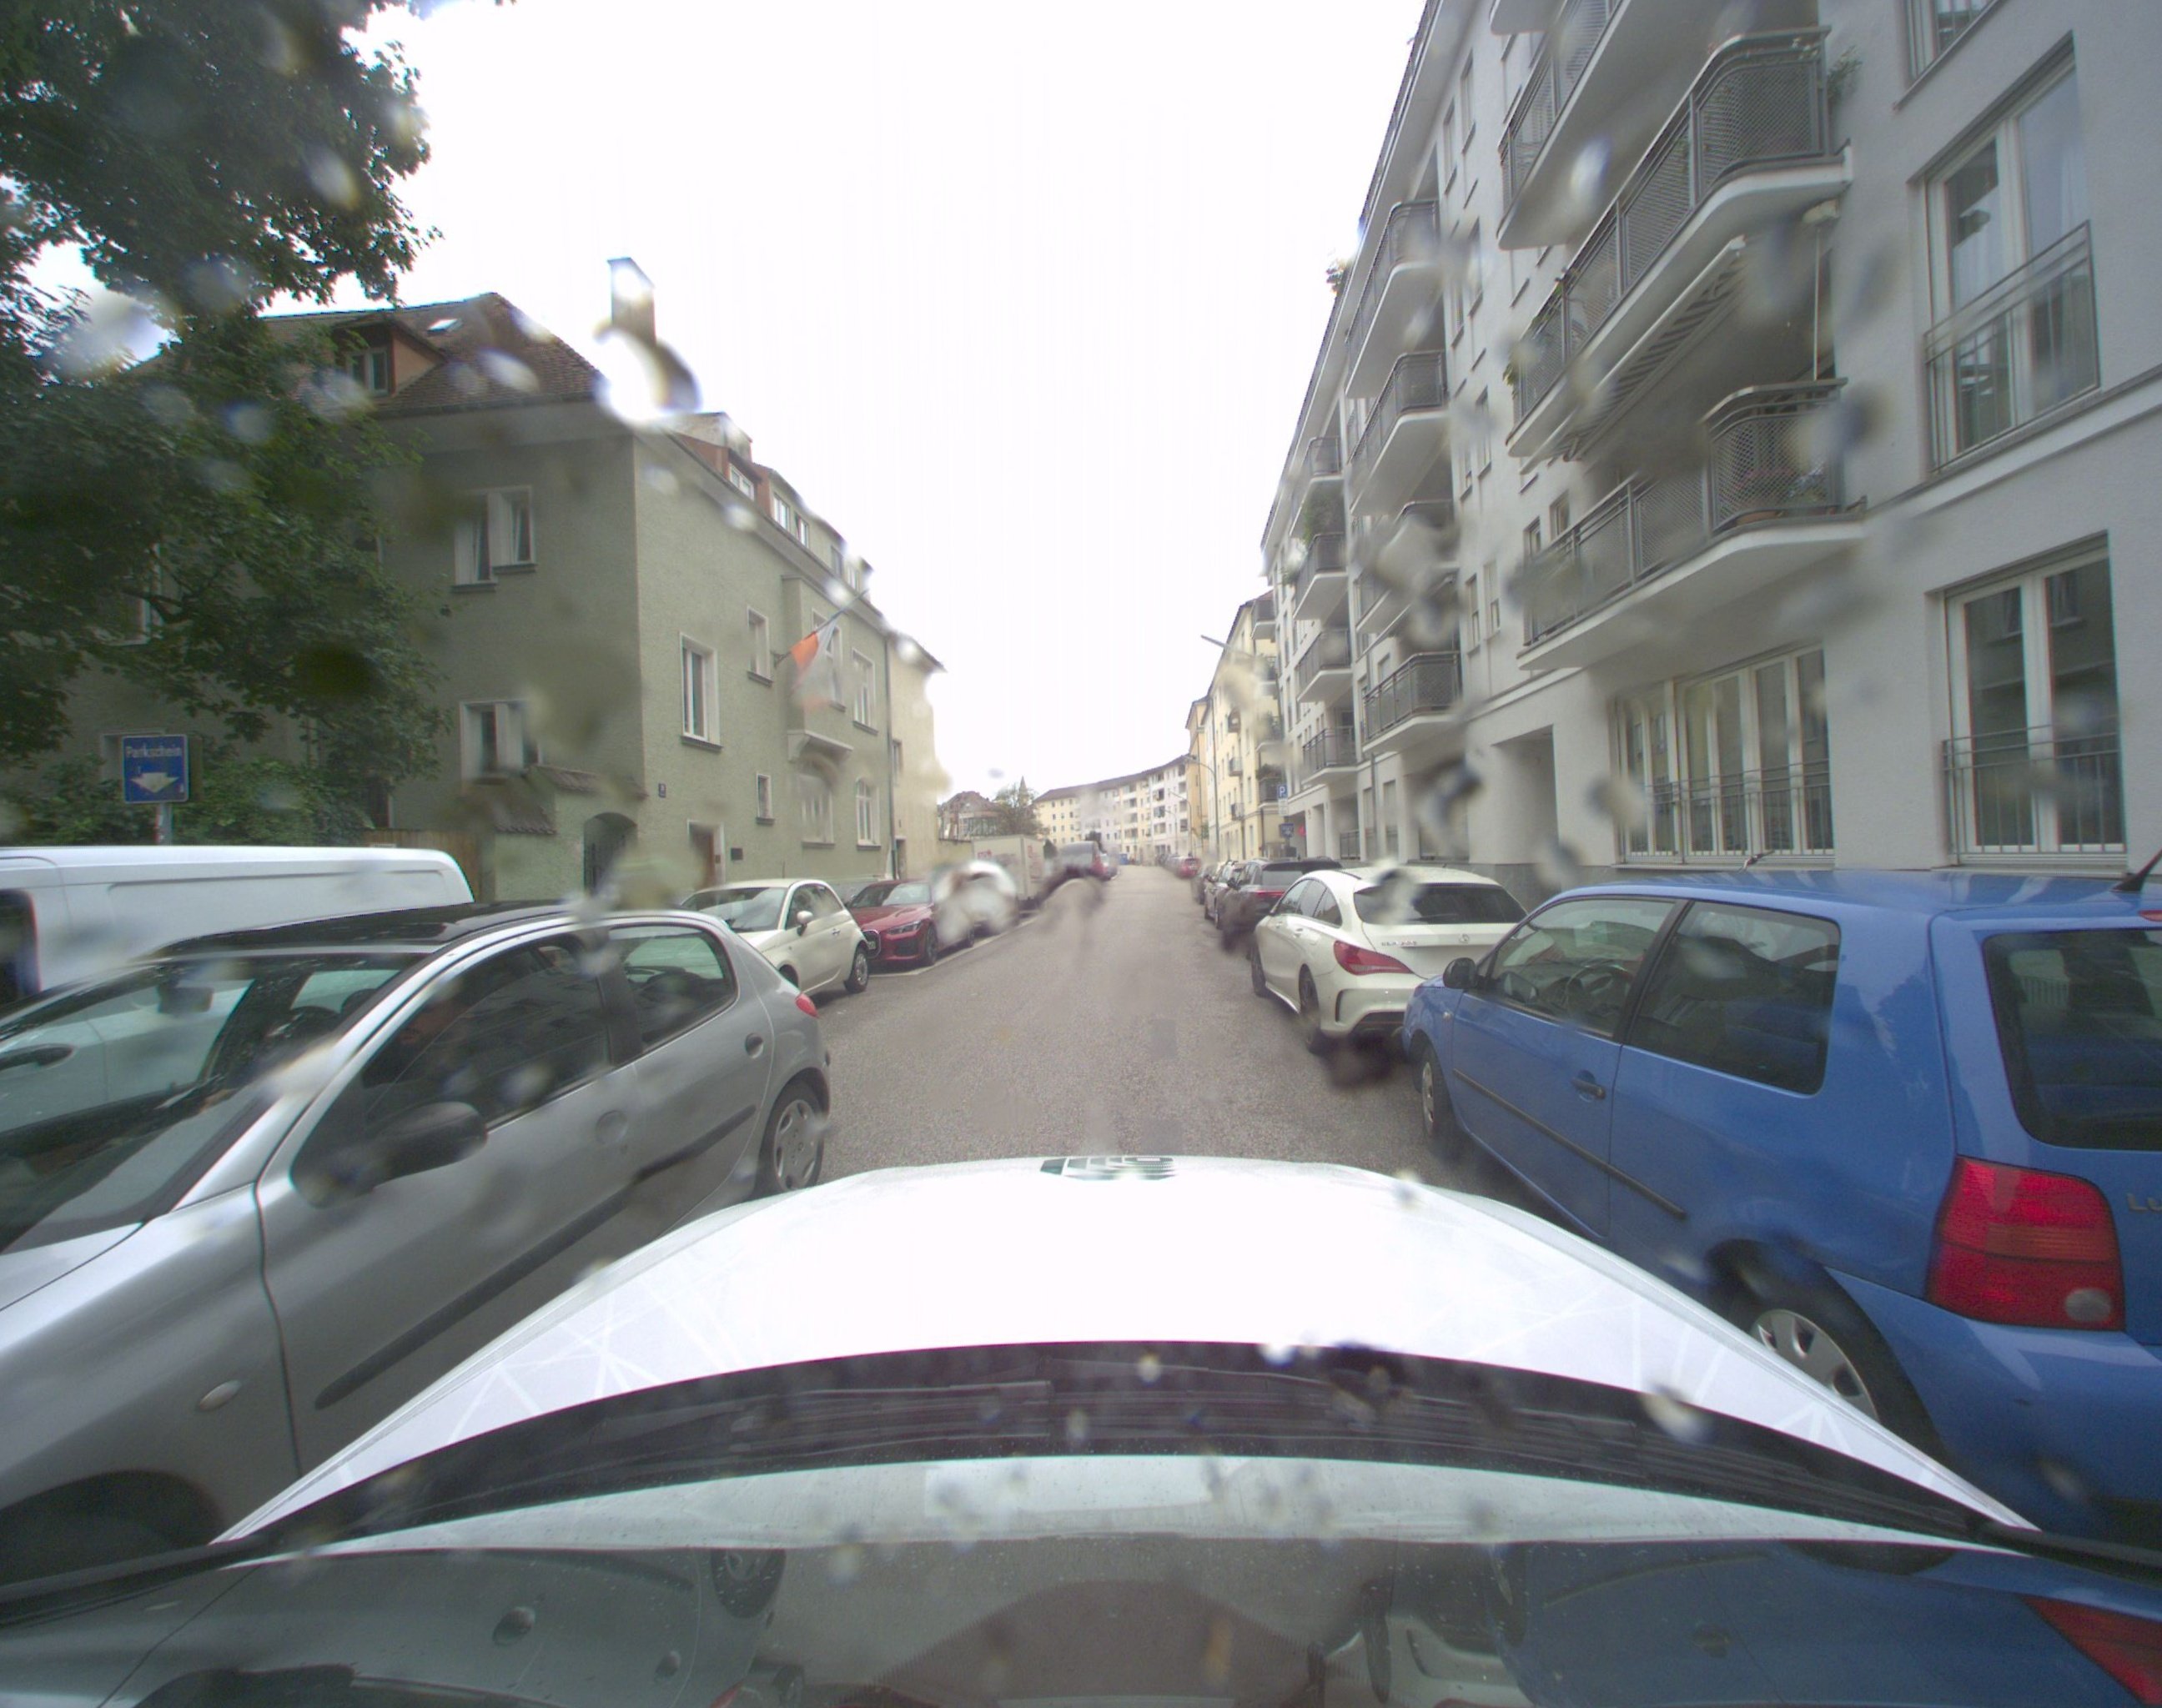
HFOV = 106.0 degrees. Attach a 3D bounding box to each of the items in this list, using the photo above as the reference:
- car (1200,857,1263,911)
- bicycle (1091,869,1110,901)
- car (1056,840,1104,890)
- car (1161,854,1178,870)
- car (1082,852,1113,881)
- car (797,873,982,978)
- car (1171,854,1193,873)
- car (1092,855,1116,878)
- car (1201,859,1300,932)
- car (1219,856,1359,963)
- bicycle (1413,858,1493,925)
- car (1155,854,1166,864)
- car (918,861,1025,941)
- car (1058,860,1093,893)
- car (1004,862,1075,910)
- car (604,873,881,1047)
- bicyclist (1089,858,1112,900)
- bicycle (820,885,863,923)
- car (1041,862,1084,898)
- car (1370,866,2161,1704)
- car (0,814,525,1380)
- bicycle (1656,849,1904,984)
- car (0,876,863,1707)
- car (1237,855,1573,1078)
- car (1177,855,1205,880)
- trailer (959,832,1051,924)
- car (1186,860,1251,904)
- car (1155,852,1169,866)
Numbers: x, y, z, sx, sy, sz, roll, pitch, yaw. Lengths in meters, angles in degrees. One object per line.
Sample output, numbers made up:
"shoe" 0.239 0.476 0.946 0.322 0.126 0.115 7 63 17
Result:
"car" 4.561 0.873 25.064 1.512 1.530 3.531 -1 0 4
"bicycle" 0.771 1.193 31.692 0.501 1.128 1.777 -4 0 8
"car" 0.026 0.576 47.444 2.077 2.636 5.387 -2 0 7
"car" 9.603 0.837 88.544 1.583 1.582 4.303 -1 0 4
"car" 1.232 0.885 60.101 1.874 1.931 4.606 -4 0 4
"car" -3.122 1.117 14.285 1.852 1.412 4.338 -4 -1 4
"car" 8.510 0.786 68.828 1.592 1.491 3.802 -2 0 3
"car" 1.909 1.002 66.805 1.694 1.691 4.032 -4 0 4
"car" 3.925 0.895 19.554 1.726 1.530 4.626 0 0 4
"car" 3.316 0.805 13.677 1.596 1.530 3.988 0 0 4
"bicycle" 7.077 0.679 15.620 0.624 1.160 2.129 -3 0 3
"car" 10.715 0.734 109.987 1.266 1.299 2.800 -2 0 4
"car" -2.541 1.049 19.787 1.679 1.603 3.926 -4 0 4
"car" -0.267 1.130 42.108 1.579 1.538 3.545 -3 0 2
"car" -1.494 1.151 31.017 1.757 1.538 4.550 -4 -1 8
"car" -3.543 1.020 9.178 1.467 1.466 3.317 -4 -1 4
"bicyclist" 0.766 0.965 31.708 0.690 1.561 0.969 -4 -1 8
"bicycle" -6.435 1.324 21.956 0.520 0.906 1.930 1 0 2
"car" -0.795 1.167 37.363 1.694 1.446 3.828 -2 0 3
"car" 2.464 0.759 3.150 1.612 1.412 3.556 0 -1 3
"car" -4.318 0.829 2.766 1.682 1.803 4.150 -4 0 4
"bicycle" 6.094 0.520 7.269 0.674 1.028 1.836 -2 -2 4
"car" -2.119 0.837 2.430 1.573 1.411 3.618 -3 -1 6
"car" 2.510 0.737 7.423 1.650 1.440 4.211 0 0 4
"car" 7.094 0.844 52.910 1.588 1.509 3.806 -3 0 5
"trailer" -2.212 0.667 25.030 1.700 2.461 4.396 -4 -1 7
"car" 4.860 0.972 29.253 1.756 1.408 4.081 -2 -1 3
"car" 9.729 0.577 98.283 1.467 1.641 4.005 -1 0 4
